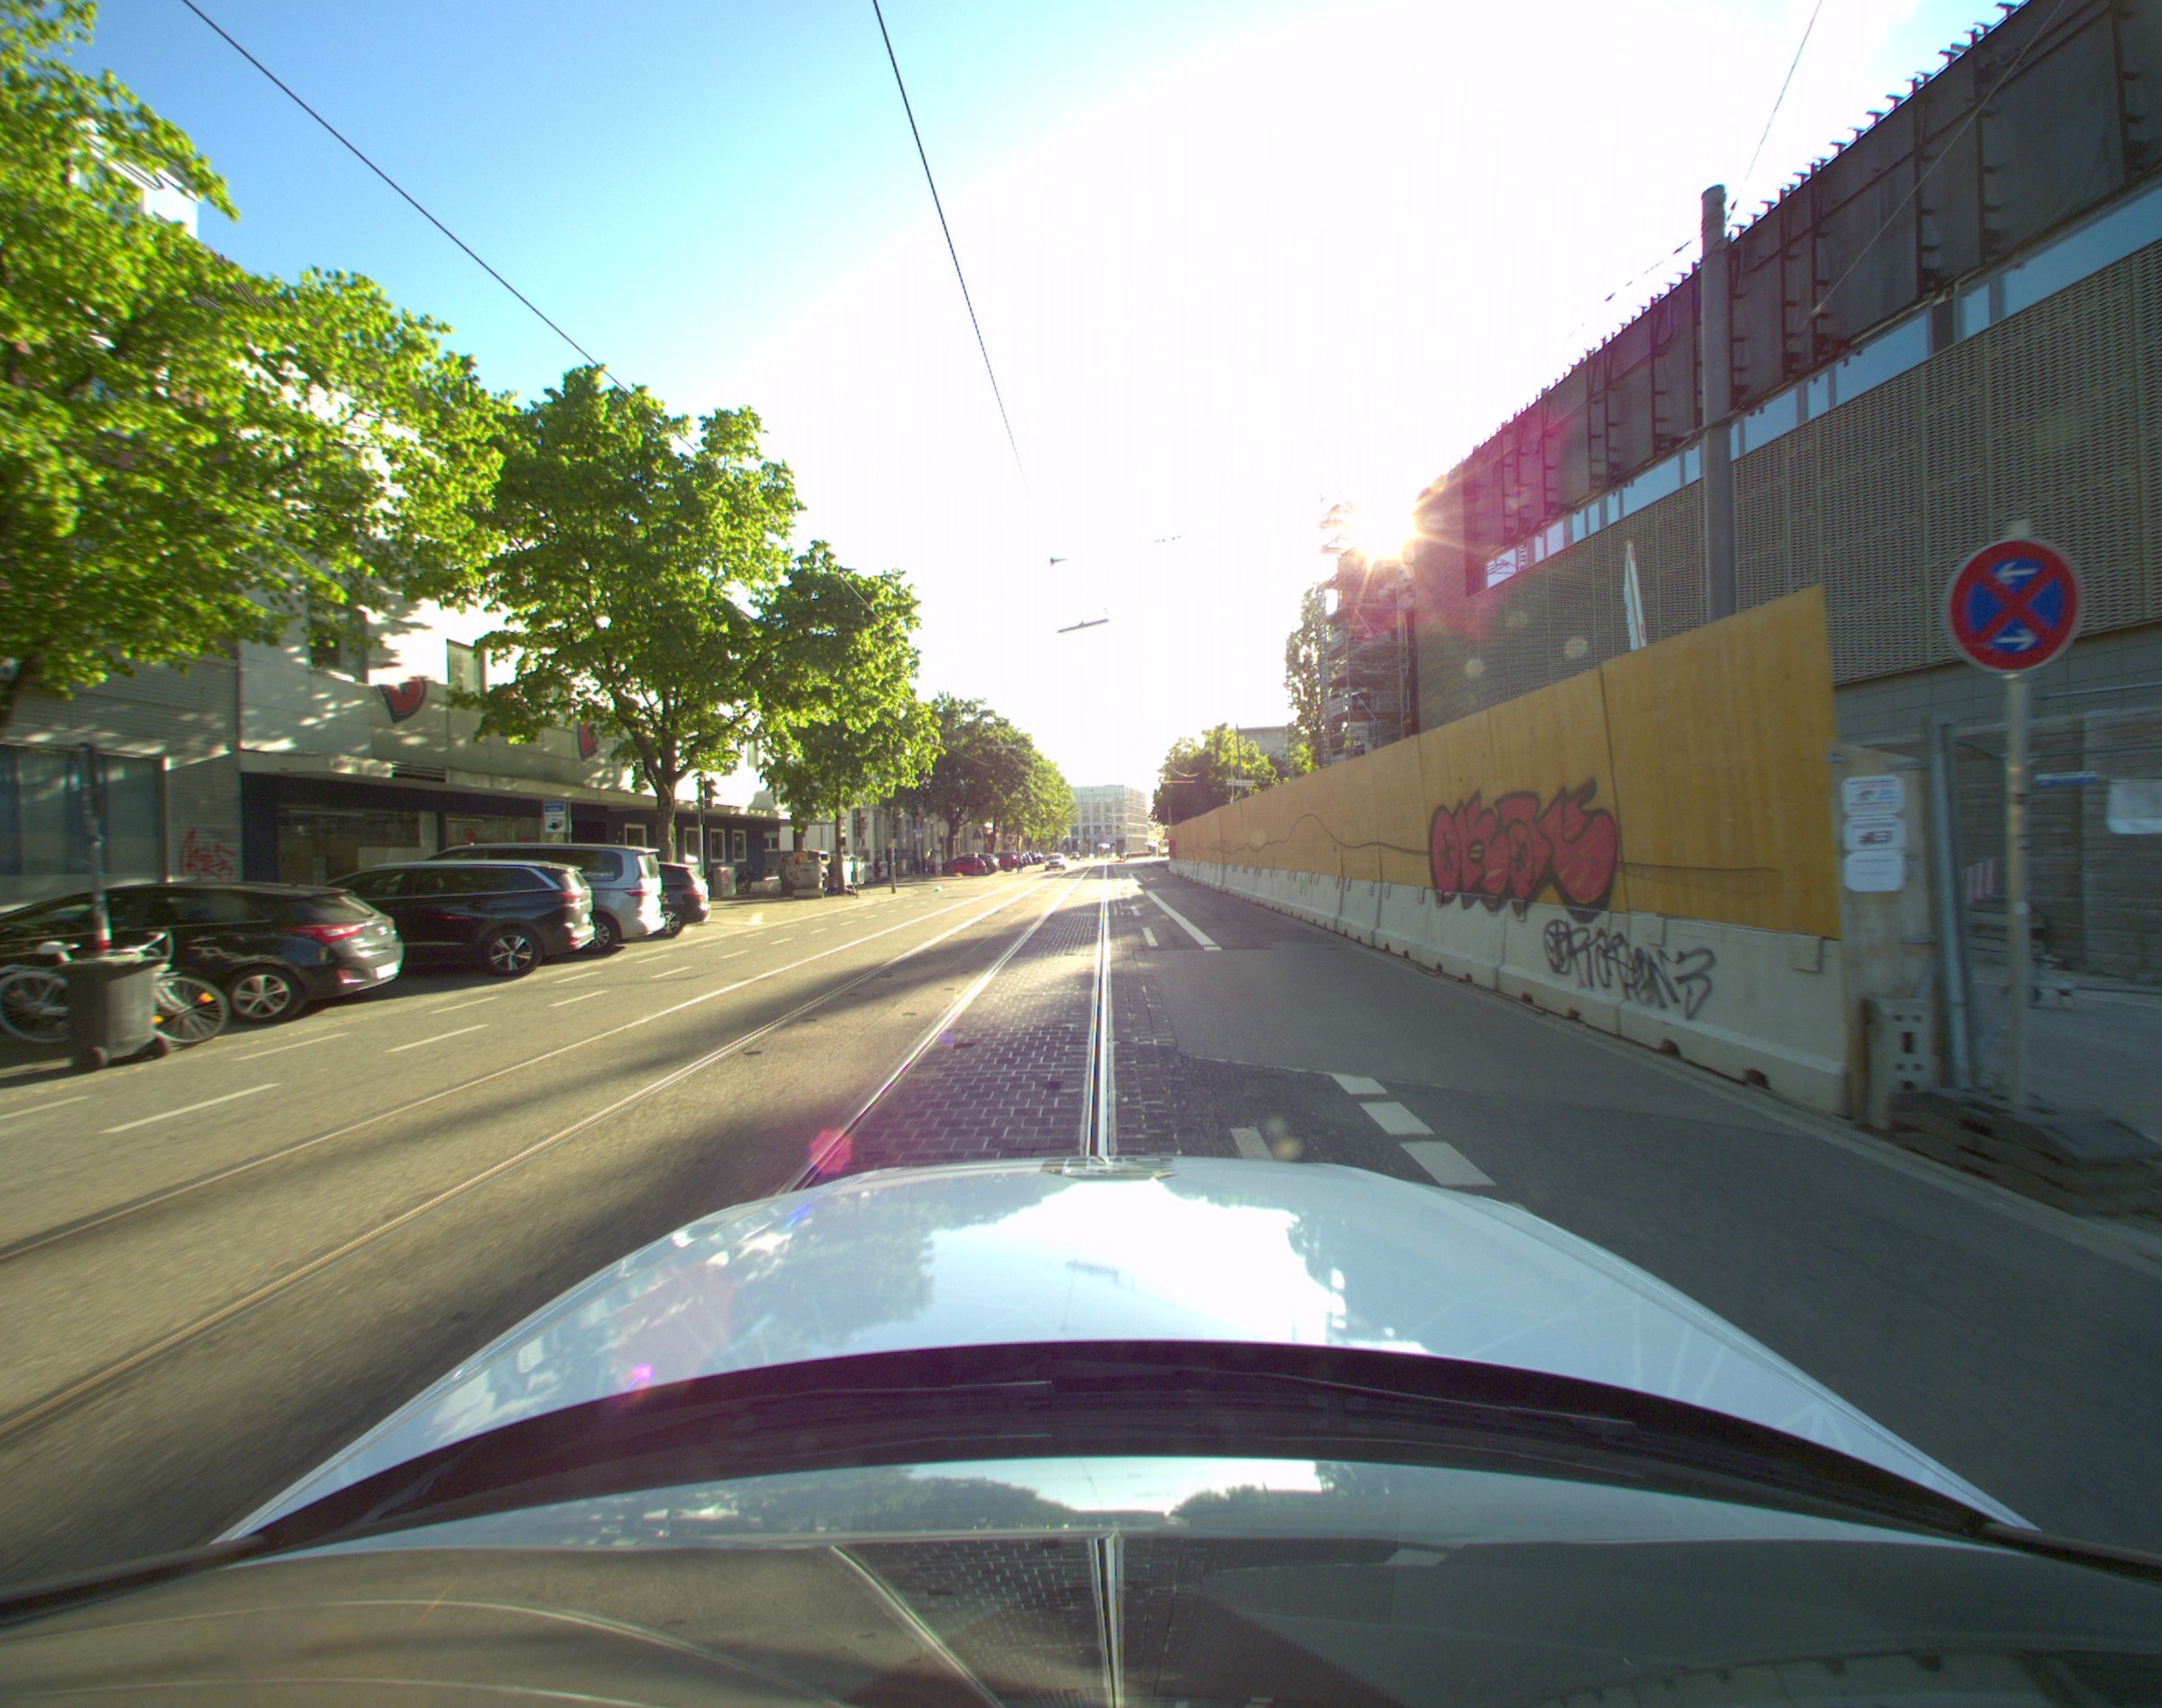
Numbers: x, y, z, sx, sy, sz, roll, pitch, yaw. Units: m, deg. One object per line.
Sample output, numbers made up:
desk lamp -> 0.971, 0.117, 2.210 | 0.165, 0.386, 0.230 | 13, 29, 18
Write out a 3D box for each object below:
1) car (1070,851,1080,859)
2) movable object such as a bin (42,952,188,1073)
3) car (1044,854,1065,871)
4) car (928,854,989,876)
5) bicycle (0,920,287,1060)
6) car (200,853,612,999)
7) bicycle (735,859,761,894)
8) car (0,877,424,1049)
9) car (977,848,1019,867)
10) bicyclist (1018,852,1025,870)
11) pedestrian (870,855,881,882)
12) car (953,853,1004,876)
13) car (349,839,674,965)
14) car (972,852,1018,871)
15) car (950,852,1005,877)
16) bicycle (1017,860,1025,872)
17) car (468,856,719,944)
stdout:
car -> -1.179, 0.174, 171.356 | 1.550, 1.530, 4.007 | -2, 0, 6
movable object such as a bin -> -8.377, 1.354, 7.092 | 0.576, 0.913, 0.572 | 0, 1, -14
car -> -2.375, 0.740, 73.280 | 1.704, 1.436, 4.170 | -2, 0, 0
car -> -8.605, 0.763, 57.456 | 3.927, 1.453, 1.621 | 0, -1, -32
bicycle -> -8.842, 1.241, 7.645 | 1.970, 1.144, 0.490 | 0, 0, -17
car -> -9.602, 0.932, 12.060 | 4.249, 1.685, 1.799 | -3, 0, -19
bicycle -> -13.402, 0.875, 32.824 | 0.525, 1.344, 2.176 | -2, 0, -11
car -> -10.007, 1.112, 8.932 | 3.865, 1.476, 1.833 | -3, 1, -17
car -> -8.324, 0.329, 81.845 | 3.851, 1.832, 1.716 | 0, -1, -29
bicyclist -> -4.605, 0.543, 62.823 | 0.456, 1.377, 0.640 | -2, 0, -2
pedestrian -> -12.103, 0.866, 47.956 | 0.342, 1.572, 0.515 | -2, 0, 30
car -> -8.228, 0.836, 65.633 | 3.700, 1.721, 1.594 | -2, 0, -34
car -> -9.851, 0.755, 14.565 | 4.369, 1.986, 1.936 | 0, 0, -20
car -> -8.284, 0.694, 78.587 | 4.181, 1.720, 1.570 | -2, 0, -26
car -> -7.584, 0.757, 59.830 | 3.700, 1.721, 1.594 | -2, 0, -34
bicycle -> -4.611, 0.902, 62.731 | 0.448, 0.881, 1.900 | -2, 0, -1
car -> -10.067, 0.898, 17.256 | 4.300, 1.666, 1.897 | 0, 0, -23
